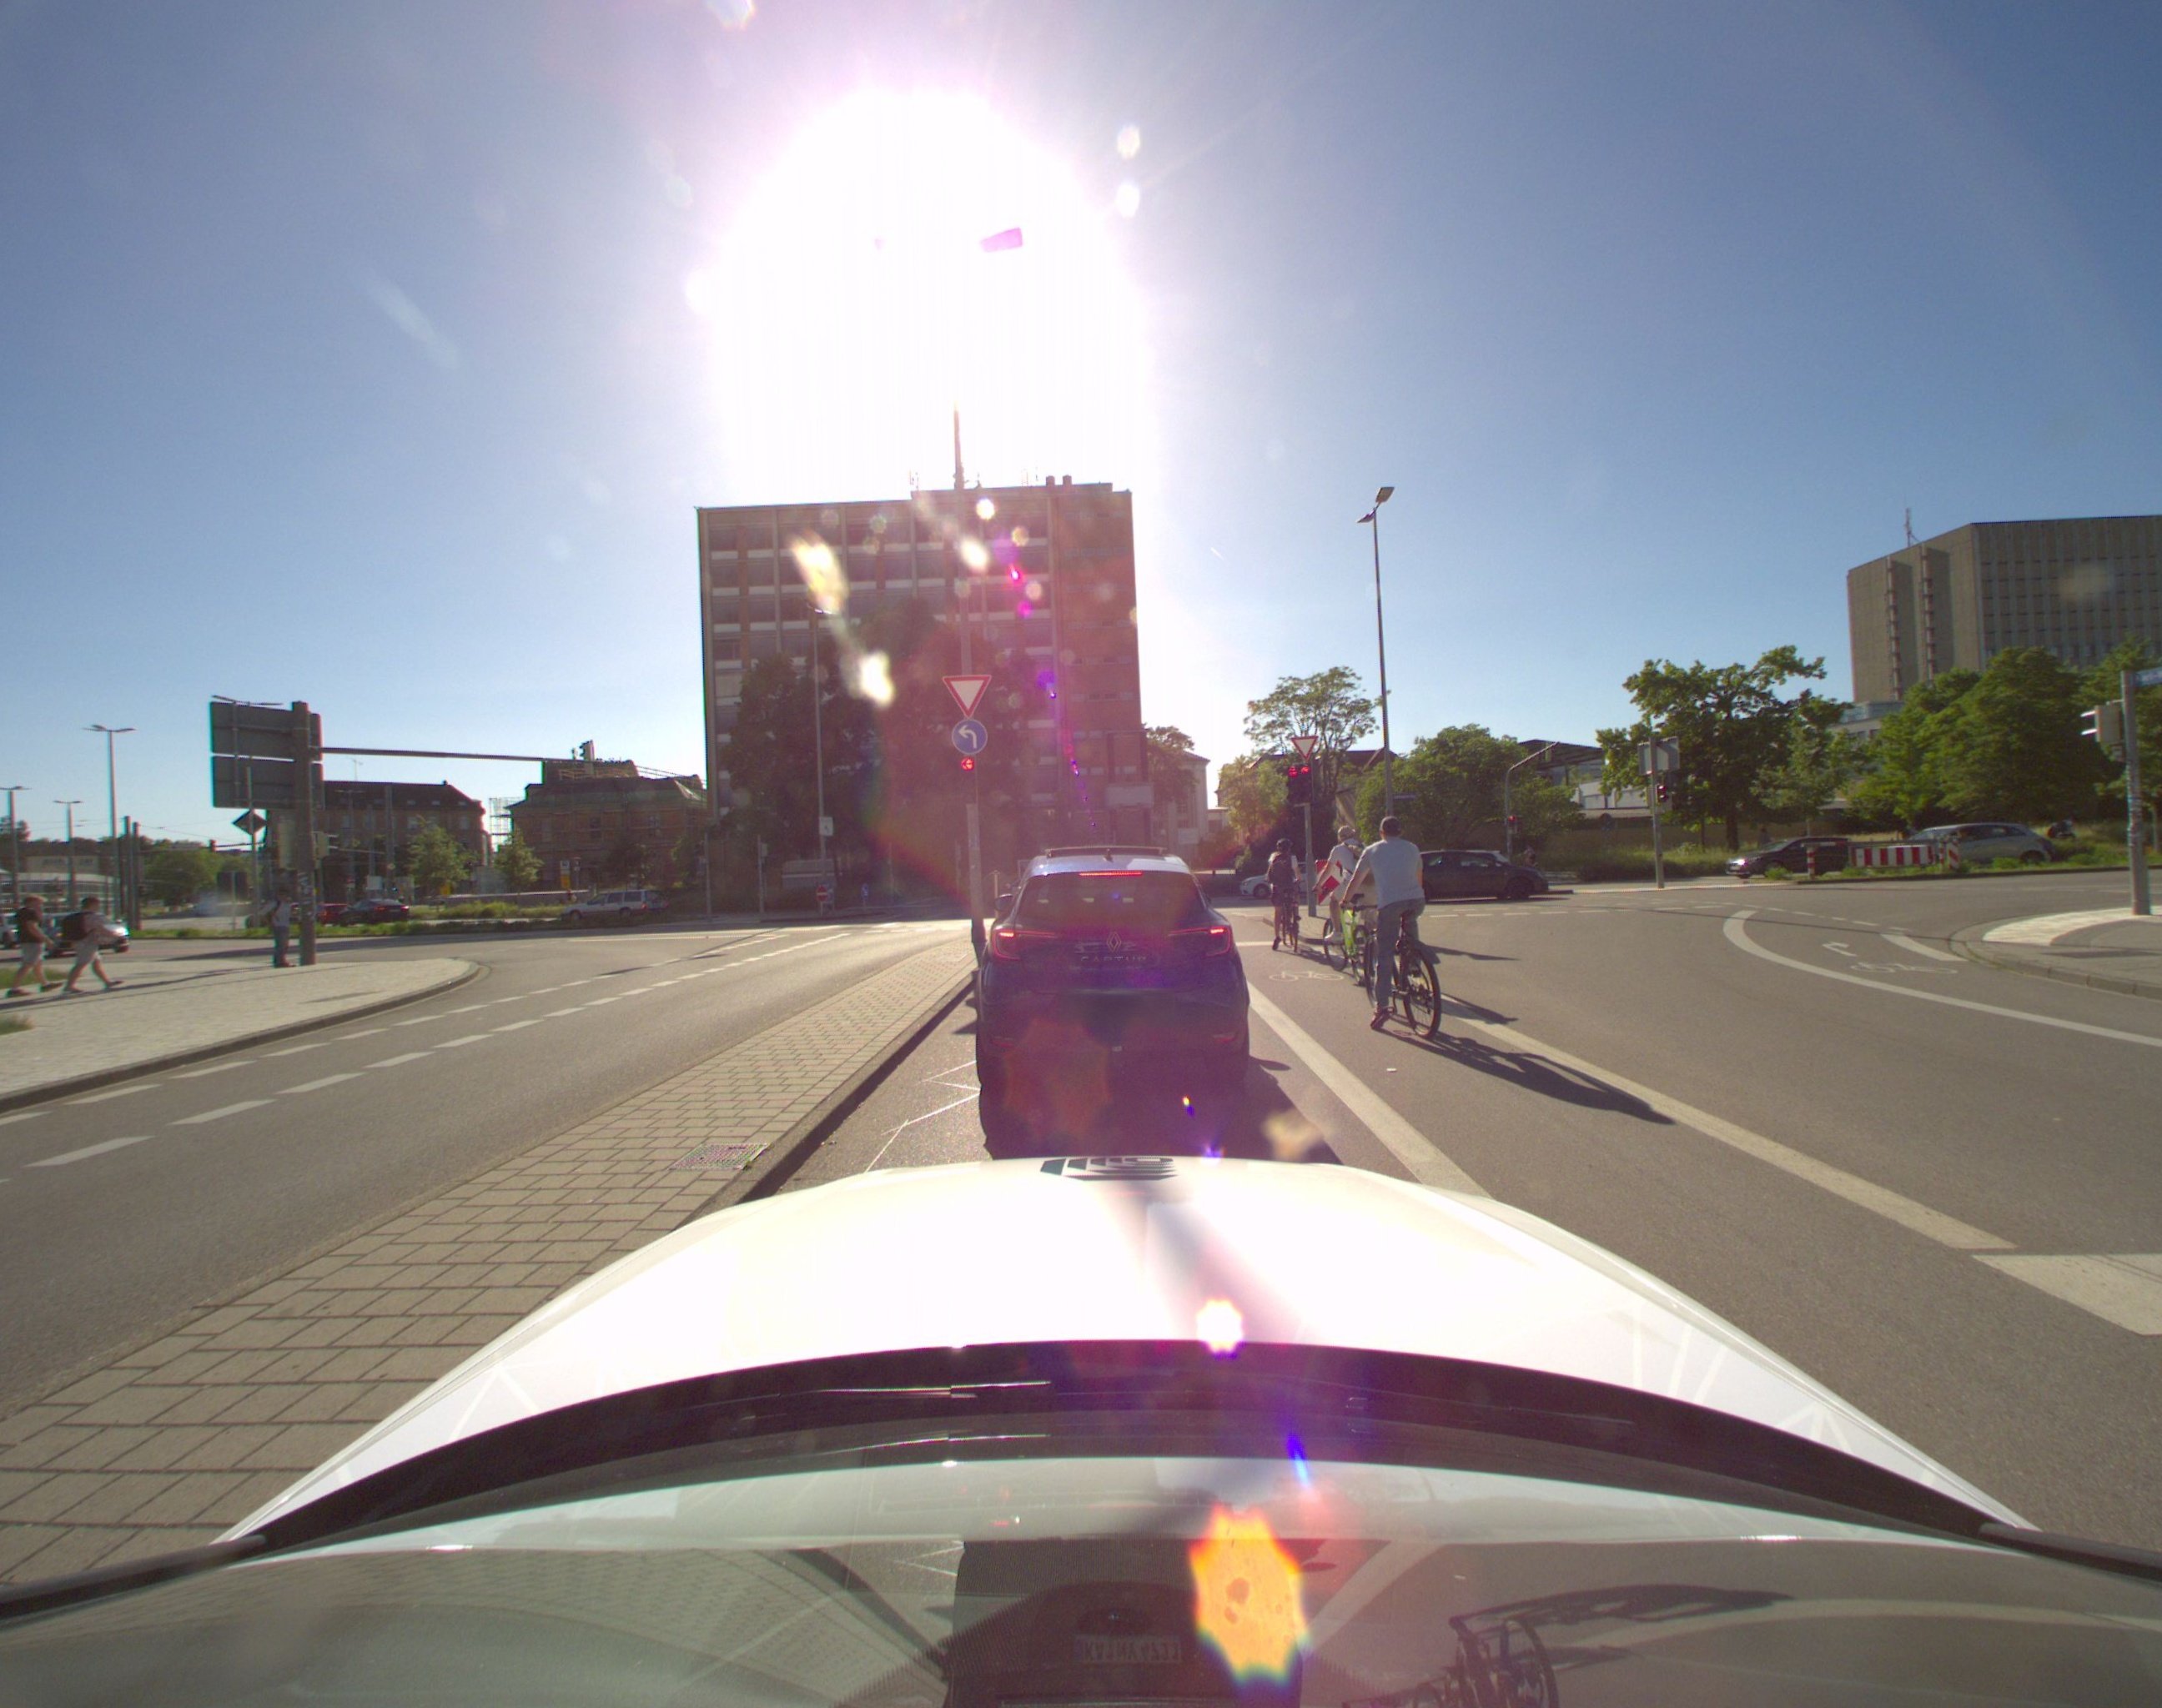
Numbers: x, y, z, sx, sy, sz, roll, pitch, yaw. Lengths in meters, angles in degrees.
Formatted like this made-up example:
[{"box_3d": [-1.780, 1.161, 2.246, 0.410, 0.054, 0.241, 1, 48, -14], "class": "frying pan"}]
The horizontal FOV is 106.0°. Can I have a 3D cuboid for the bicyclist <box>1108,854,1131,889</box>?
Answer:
[{"box_3d": [2.106, 0.944, 44.357, 1.094, 1.867, 0.655, -3, -1, 12], "class": "bicyclist"}]

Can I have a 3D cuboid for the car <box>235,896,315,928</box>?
[{"box_3d": [-46.665, 3.371, 47.148, 4.333, 1.632, 1.855, -3, -1, 25], "class": "car"}]

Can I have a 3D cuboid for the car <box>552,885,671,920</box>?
[{"box_3d": [-22.311, 2.311, 38.721, 4.851, 1.388, 1.850, -3, -1, 12], "class": "car"}]

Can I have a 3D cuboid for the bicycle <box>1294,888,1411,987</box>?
[{"box_3d": [3.217, 0.953, 9.862, 0.657, 1.003, 1.967, 0, -1, -4], "class": "bicycle"}]

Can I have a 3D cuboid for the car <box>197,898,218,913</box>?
[{"box_3d": [-125.245, 7.329, 116.780, 3.949, 2.013, 2.012, -3, -1, 43], "class": "car"}]

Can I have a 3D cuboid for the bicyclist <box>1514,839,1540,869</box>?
[{"box_3d": [22.300, 0.000, 40.759, 0.931, 1.429, 0.600, -2, -1, 7], "class": "bicyclist"}]

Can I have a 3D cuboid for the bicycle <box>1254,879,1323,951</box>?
[{"box_3d": [3.251, 0.926, 12.944, 0.735, 0.995, 2.177, 0, -1, 6], "class": "bicycle"}]

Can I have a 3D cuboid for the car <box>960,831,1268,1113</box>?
[{"box_3d": [0.206, 0.707, 6.813, 1.798, 1.632, 3.999, -1, 0, 0], "class": "car"}]

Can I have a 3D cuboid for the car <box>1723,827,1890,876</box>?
[{"box_3d": [27.214, -0.080, 30.707, 4.344, 1.632, 1.850, -2, -1, 11], "class": "car"}]

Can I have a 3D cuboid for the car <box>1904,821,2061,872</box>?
[{"box_3d": [37.049, -0.291, 33.590, 3.963, 2.014, 2.005, -1, -1, 9], "class": "car"}]

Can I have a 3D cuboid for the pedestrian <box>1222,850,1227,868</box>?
[{"box_3d": [16.218, 0.598, 92.193, 0.473, 2.014, 0.469, -2, -1, 8], "class": "pedestrian"}]

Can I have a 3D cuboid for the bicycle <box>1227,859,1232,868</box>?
[{"box_3d": [17.192, 1.068, 94.183, 0.403, 0.973, 1.686, 0, -1, 6], "class": "bicycle"}]

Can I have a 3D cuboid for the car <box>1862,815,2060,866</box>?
[{"box_3d": [28.142, -0.403, 26.177, 4.025, 1.408, 1.872, -2, -1, 8], "class": "car"}]

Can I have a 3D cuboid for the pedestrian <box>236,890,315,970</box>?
[{"box_3d": [-18.180, 1.695, 18.393, 0.900, 1.690, 0.839, -4, -3, -3], "class": "pedestrian"}]

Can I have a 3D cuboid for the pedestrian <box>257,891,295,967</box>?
[{"box_3d": [-19.217, 1.770, 19.451, 0.600, 1.729, 0.572, -2, -1, -45], "class": "pedestrian"}]

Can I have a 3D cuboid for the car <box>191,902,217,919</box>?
[{"box_3d": [-114.875, 7.340, 106.639, 3.948, 2.013, 2.013, -3, -1, 38], "class": "car"}]

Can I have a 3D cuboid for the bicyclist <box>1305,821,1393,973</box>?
[{"box_3d": [3.218, 0.493, 9.860, 0.644, 1.739, 1.065, 0, -1, -4], "class": "bicyclist"}]

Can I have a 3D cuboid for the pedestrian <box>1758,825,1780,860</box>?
[{"box_3d": [34.333, -0.564, 40.643, 0.559, 1.695, 0.528, -3, -1, 5], "class": "pedestrian"}]

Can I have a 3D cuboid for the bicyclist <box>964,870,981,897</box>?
[{"box_3d": [-5.886, 1.593, 44.064, 0.741, 1.441, 0.593, -2, -1, -25], "class": "bicyclist"}]

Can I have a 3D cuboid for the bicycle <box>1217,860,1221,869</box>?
[{"box_3d": [15.880, 1.219, 93.833, 0.403, 0.973, 1.686, 0, -1, 6], "class": "bicycle"}]

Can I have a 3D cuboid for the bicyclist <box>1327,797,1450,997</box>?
[{"box_3d": [2.715, 0.366, 7.308, 0.748, 1.668, 1.017, 0, -1, 3], "class": "bicyclist"}]

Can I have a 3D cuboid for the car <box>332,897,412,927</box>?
[{"box_3d": [-42.576, 3.495, 48.912, 4.334, 1.632, 1.854, -3, -1, 23], "class": "car"}]

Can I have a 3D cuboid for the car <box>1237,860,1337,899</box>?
[{"box_3d": [8.419, 1.019, 33.525, 3.814, 1.435, 1.747, -2, -1, 8], "class": "car"}]

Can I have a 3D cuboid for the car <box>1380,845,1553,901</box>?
[{"box_3d": [10.706, 0.575, 22.916, 4.030, 1.389, 1.849, -2, -4, 11], "class": "car"}]

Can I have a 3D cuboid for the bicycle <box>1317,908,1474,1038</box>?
[{"box_3d": [2.723, 0.989, 7.307, 0.737, 0.896, 1.980, 0, -1, 3], "class": "bicycle"}]

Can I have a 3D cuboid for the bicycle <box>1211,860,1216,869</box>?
[{"box_3d": [15.262, 1.224, 93.891, 0.403, 0.973, 1.686, 0, -1, 6], "class": "bicycle"}]

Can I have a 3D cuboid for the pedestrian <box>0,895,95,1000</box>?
[{"box_3d": [-19.242, 1.710, 15.091, 0.696, 1.800, 1.110, -6, -3, 29], "class": "pedestrian"}]

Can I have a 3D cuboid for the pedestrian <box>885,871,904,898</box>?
[{"box_3d": [-11.543, 1.918, 50.493, 0.853, 1.571, 0.561, -6, -1, 15], "class": "pedestrian"}]

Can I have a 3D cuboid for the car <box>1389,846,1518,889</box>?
[{"box_3d": [16.181, 0.588, 35.597, 4.795, 1.632, 1.849, -2, -1, 9], "class": "car"}]

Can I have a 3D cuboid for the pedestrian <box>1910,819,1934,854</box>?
[{"box_3d": [42.084, -0.872, 40.744, 0.559, 1.695, 0.528, -3, -1, 5], "class": "pedestrian"}]

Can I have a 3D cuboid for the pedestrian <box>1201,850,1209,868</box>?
[{"box_3d": [13.315, 0.531, 87.465, 0.624, 1.856, 0.560, -2, -1, -15], "class": "pedestrian"}]

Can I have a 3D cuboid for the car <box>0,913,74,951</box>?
[{"box_3d": [-50.560, 3.763, 38.944, 4.644, 1.619, 1.854, -4, -3, 24], "class": "car"}]

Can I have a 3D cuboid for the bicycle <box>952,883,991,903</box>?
[{"box_3d": [-5.923, 2.109, 44.037, 2.016, 0.964, 0.593, -2, -1, -25], "class": "bicycle"}]

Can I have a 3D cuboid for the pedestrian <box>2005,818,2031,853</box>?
[{"box_3d": [45.943, -0.907, 39.938, 0.559, 1.695, 0.528, -3, -1, 5], "class": "pedestrian"}]

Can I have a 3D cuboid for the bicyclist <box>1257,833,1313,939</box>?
[{"box_3d": [3.241, 0.499, 12.998, 0.722, 1.629, 0.970, 0, -1, 6], "class": "bicyclist"}]

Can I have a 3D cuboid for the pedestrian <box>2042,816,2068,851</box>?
[{"box_3d": [47.938, -1.013, 40.085, 0.559, 1.695, 0.528, -3, -1, 5], "class": "pedestrian"}]

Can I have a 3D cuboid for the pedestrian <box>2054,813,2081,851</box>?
[{"box_3d": [47.767, -1.063, 39.446, 0.559, 1.778, 0.528, -3, -1, 5], "class": "pedestrian"}]

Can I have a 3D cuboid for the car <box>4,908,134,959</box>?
[{"box_3d": [-37.704, 2.969, 30.341, 4.207, 1.581, 1.803, -4, 0, 21], "class": "car"}]

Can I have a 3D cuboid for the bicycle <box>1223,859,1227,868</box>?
[{"box_3d": [16.658, 1.072, 94.183, 0.403, 0.973, 1.686, 0, -1, 6], "class": "bicycle"}]

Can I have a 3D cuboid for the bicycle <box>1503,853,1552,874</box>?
[{"box_3d": [22.319, 0.474, 40.746, 2.065, 0.964, 0.600, -2, -1, 7], "class": "bicycle"}]

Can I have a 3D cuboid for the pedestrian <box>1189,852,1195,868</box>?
[{"box_3d": [12.503, 0.685, 91.593, 0.609, 1.856, 0.468, -2, -1, 7], "class": "pedestrian"}]

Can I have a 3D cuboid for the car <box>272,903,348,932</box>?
[{"box_3d": [-48.617, 4.012, 51.358, 4.334, 1.632, 1.854, -2, 0, 23], "class": "car"}]

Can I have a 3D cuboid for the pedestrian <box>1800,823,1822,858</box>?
[{"box_3d": [36.774, -0.672, 41.029, 0.559, 1.695, 0.528, -3, -1, 5], "class": "pedestrian"}]

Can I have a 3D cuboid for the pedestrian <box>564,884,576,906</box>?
[{"box_3d": [-38.803, 3.100, 61.834, 0.541, 1.615, 0.653, -3, -1, 41], "class": "pedestrian"}]

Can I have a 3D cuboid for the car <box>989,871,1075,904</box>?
[{"box_3d": [-2.346, 1.613, 39.654, 3.813, 1.435, 1.747, -2, -2, 10], "class": "car"}]

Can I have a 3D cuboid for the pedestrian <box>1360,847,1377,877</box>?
[{"box_3d": [15.557, 0.422, 44.087, 0.732, 1.603, 0.601, -3, -1, 14], "class": "pedestrian"}]

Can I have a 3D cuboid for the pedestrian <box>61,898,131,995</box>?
[{"box_3d": [-18.304, 1.700, 15.147, 0.784, 1.690, 0.794, -7, -4, 41], "class": "pedestrian"}]
